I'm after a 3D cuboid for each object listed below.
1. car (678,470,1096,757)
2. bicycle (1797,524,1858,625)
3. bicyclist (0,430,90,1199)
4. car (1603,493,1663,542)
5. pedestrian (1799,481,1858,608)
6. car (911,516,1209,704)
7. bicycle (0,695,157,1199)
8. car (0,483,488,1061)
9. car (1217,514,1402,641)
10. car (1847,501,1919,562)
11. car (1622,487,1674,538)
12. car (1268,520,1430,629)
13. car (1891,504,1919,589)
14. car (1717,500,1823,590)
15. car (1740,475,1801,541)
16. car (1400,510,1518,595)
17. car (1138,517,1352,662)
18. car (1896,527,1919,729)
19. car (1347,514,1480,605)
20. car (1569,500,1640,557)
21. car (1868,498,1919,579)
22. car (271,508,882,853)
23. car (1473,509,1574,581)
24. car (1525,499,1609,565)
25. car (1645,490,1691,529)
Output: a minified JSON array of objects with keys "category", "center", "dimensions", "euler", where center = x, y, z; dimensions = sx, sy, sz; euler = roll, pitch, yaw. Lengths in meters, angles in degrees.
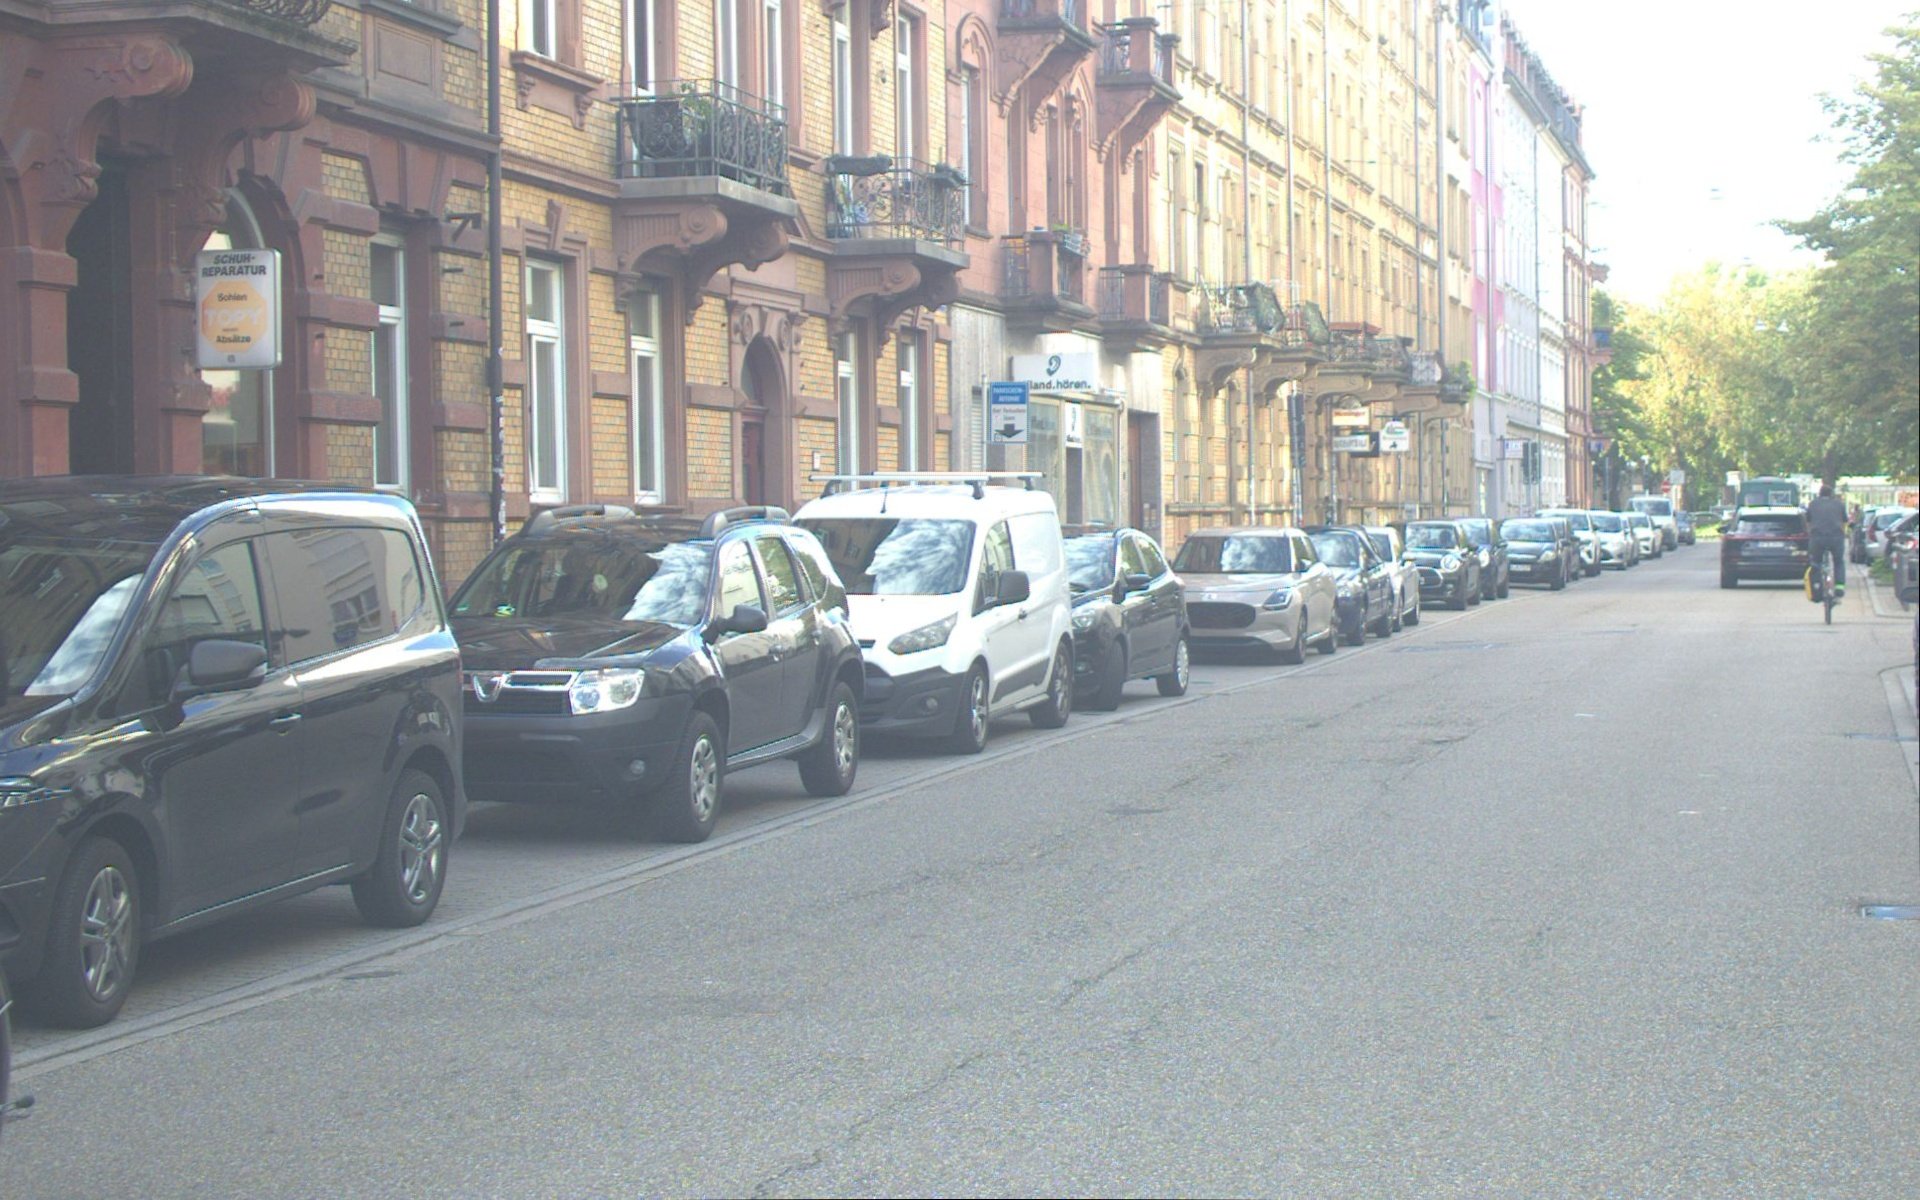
[{"category":"car","center":[-0.405,0.014,24.643],"dimensions":[1.921,1.865,4.434],"euler":[0,2,13]},{"category":"bicycle","center":[11.372,-0.345,45.048],"dimensions":[0.718,1.270,1.883],"euler":[1,2,15]},{"category":"bicyclist","center":[-2.391,0.481,7.256],"dimensions":[0.701,1.672,1.112],"euler":[-2,0,5]},{"category":"car","center":[21.564,-2.644,110.098],"dimensions":[1.691,1.544,3.865],"euler":[1,2,14]},{"category":"pedestrian","center":[11.418,-0.738,45.187],"dimensions":[0.718,1.644,0.930],"euler":[1,2,15]},{"category":"car","center":[0.934,0.052,29.603],"dimensions":[1.743,1.478,3.981],"euler":[1,1,14]},{"category":"bicycle","center":[-2.384,0.845,7.203],"dimensions":[0.701,1.216,2.116],"euler":[-2,0,5]},{"category":"car","center":[-3.356,0.460,12.538],"dimensions":[1.761,1.767,4.403],"euler":[1,2,13]},{"category":"car","center":[4.465,-0.325,43.444],"dimensions":[1.743,1.478,3.981],"euler":[1,2,14]},{"category":"car","center":[25.719,-1.926,95.729],"dimensions":[1.931,1.632,3.998],"euler":[1,2,15]},{"category":"car","center":[25.180,-3.186,125.759],"dimensions":[1.691,1.815,3.865],"euler":[1,2,14]},{"category":"car","center":[5.402,-0.381,47.368],"dimensions":[1.691,1.382,3.865],"euler":[1,2,14]},{"category":"car","center":[19.201,-1.058,63.125],"dimensions":[3.761,1.541,1.730],"euler":[-2,0,5]},{"category":"car","center":[16.231,-1.117,68.786],"dimensions":[1.966,1.734,4.039],"euler":[0,1,15]},{"category":"car","center":[25.095,-2.865,106.431],"dimensions":[1.783,2.013,3.886],"euler":[1,2,14]},{"category":"car","center":[9.038,-0.885,62.031],"dimensions":[1.691,1.432,3.865],"euler":[1,2,14]},{"category":"car","center":[3.248,-0.157,38.524],"dimensions":[1.743,1.478,3.981],"euler":[1,2,14]},{"category":"car","center":[8.210,0.154,27.029],"dimensions":[1.596,1.434,4.027],"euler":[-1,2,16]},{"category":"car","center":[7.439,-0.683,56.113],"dimensions":[1.691,1.382,3.865],"euler":[1,2,14]},{"category":"car","center":[17.954,-1.997,95.687],"dimensions":[1.691,1.544,3.865],"euler":[1,2,14]},{"category":"car","center":[24.115,-1.562,83.189],"dimensions":[3.990,1.678,1.736],"euler":[-2,9,19]},{"category":"car","center":[-1.911,0.326,18.574],"dimensions":[1.995,1.632,4.143],"euler":[0,2,13]},{"category":"car","center":[11.801,-1.178,71.857],"dimensions":[1.691,1.364,3.865],"euler":[3,2,14]},{"category":"car","center":[14.844,-1.674,83.954],"dimensions":[1.691,1.544,3.865],"euler":[1,2,14]},{"category":"car","center":[28.967,-3.694,140.610],"dimensions":[1.691,1.544,3.865],"euler":[1,2,14]}]
